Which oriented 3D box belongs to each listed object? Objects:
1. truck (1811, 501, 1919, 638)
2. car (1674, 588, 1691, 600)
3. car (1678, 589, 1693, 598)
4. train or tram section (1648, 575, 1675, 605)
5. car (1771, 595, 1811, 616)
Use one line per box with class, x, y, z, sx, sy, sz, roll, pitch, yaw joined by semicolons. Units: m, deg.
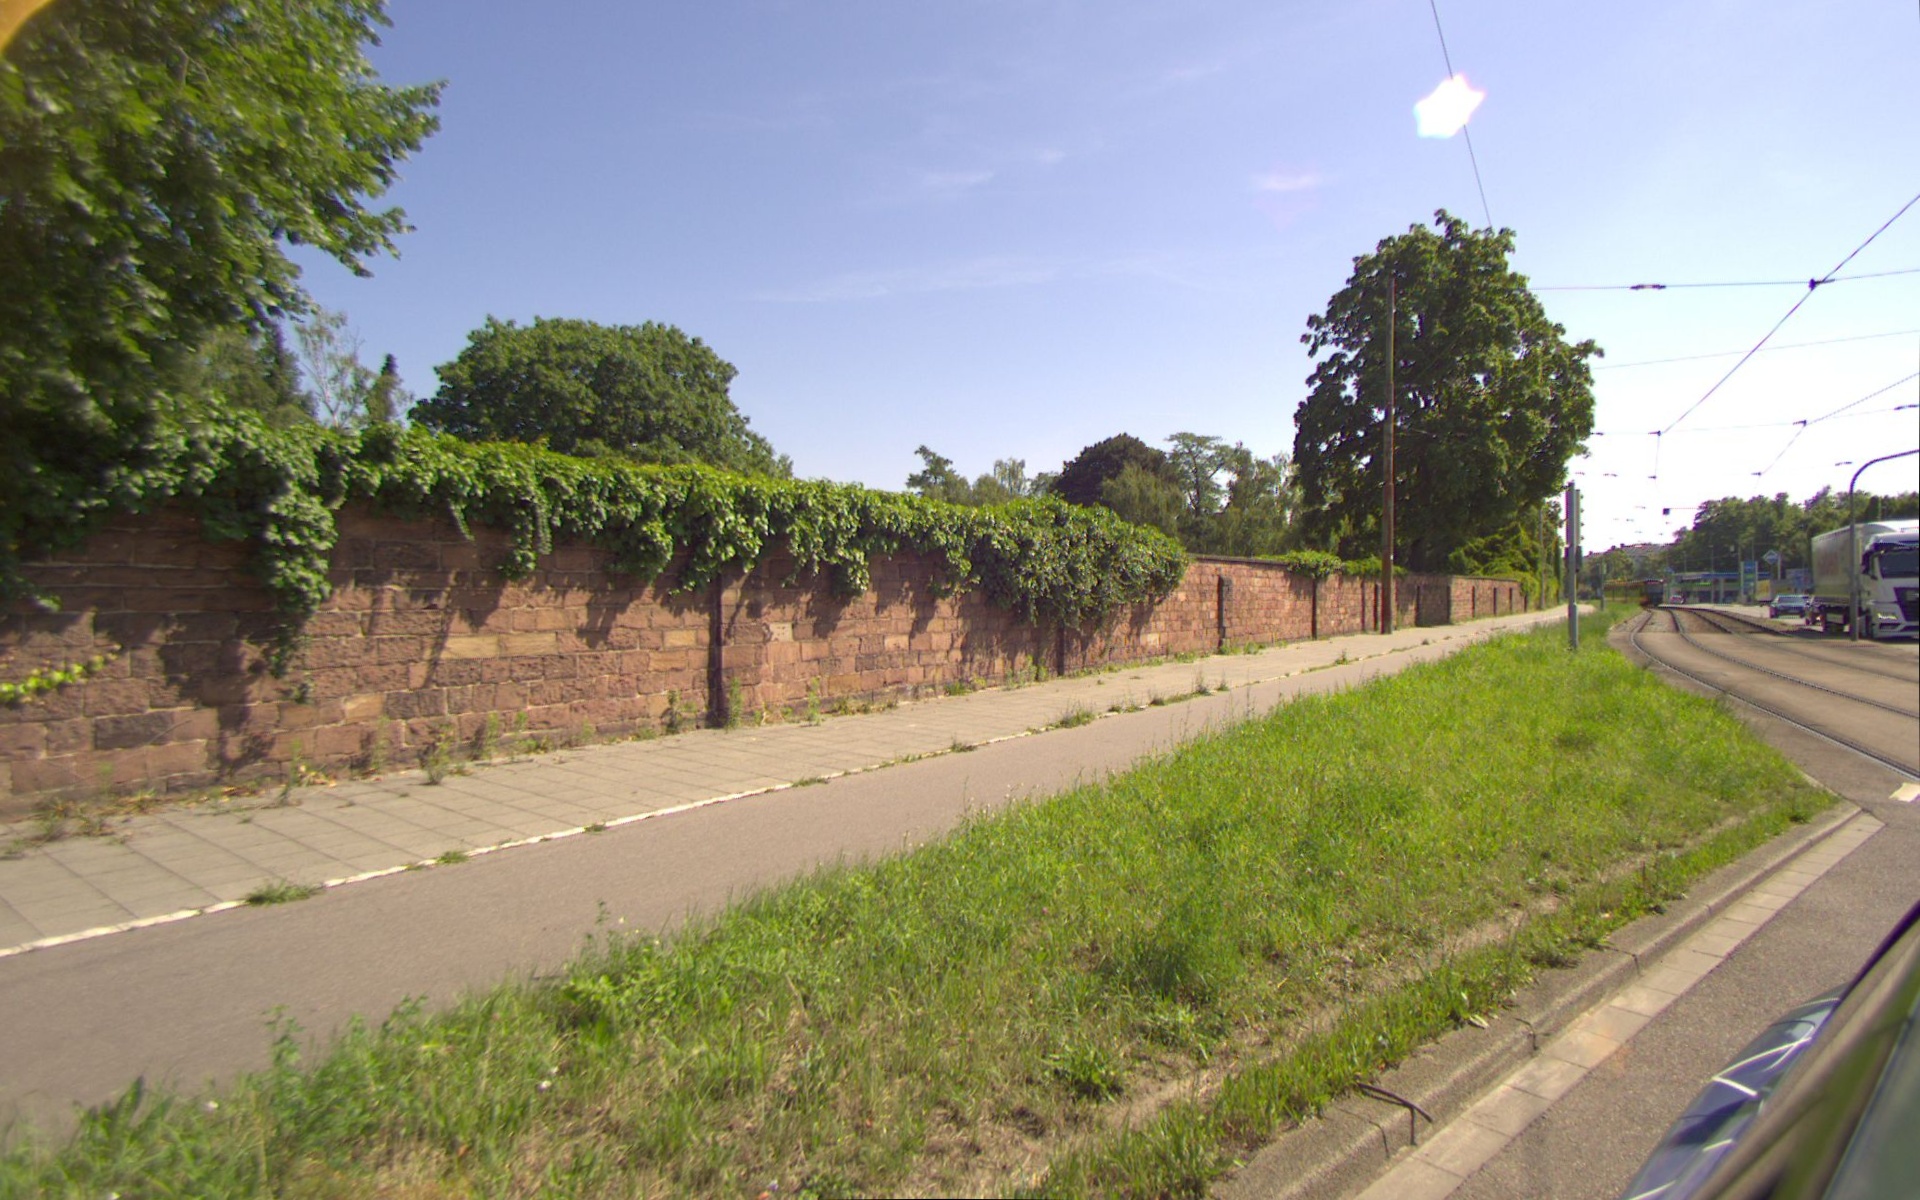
truck;33.397;-1.031;36.050;3.371;4.121;14.106;-3;-1;35
car;127.164;-1.046;178.141;1.981;2.039;3.962;0;1;27
car;127.453;-1.142;177.798;1.834;1.616;3.955;0;1;31
train or tram section;92.013;-1.369;132.691;2.661;3.699;15.111;-3;-1;35
car;51.915;0.315;63.256;1.691;1.271;3.948;0;0;36
